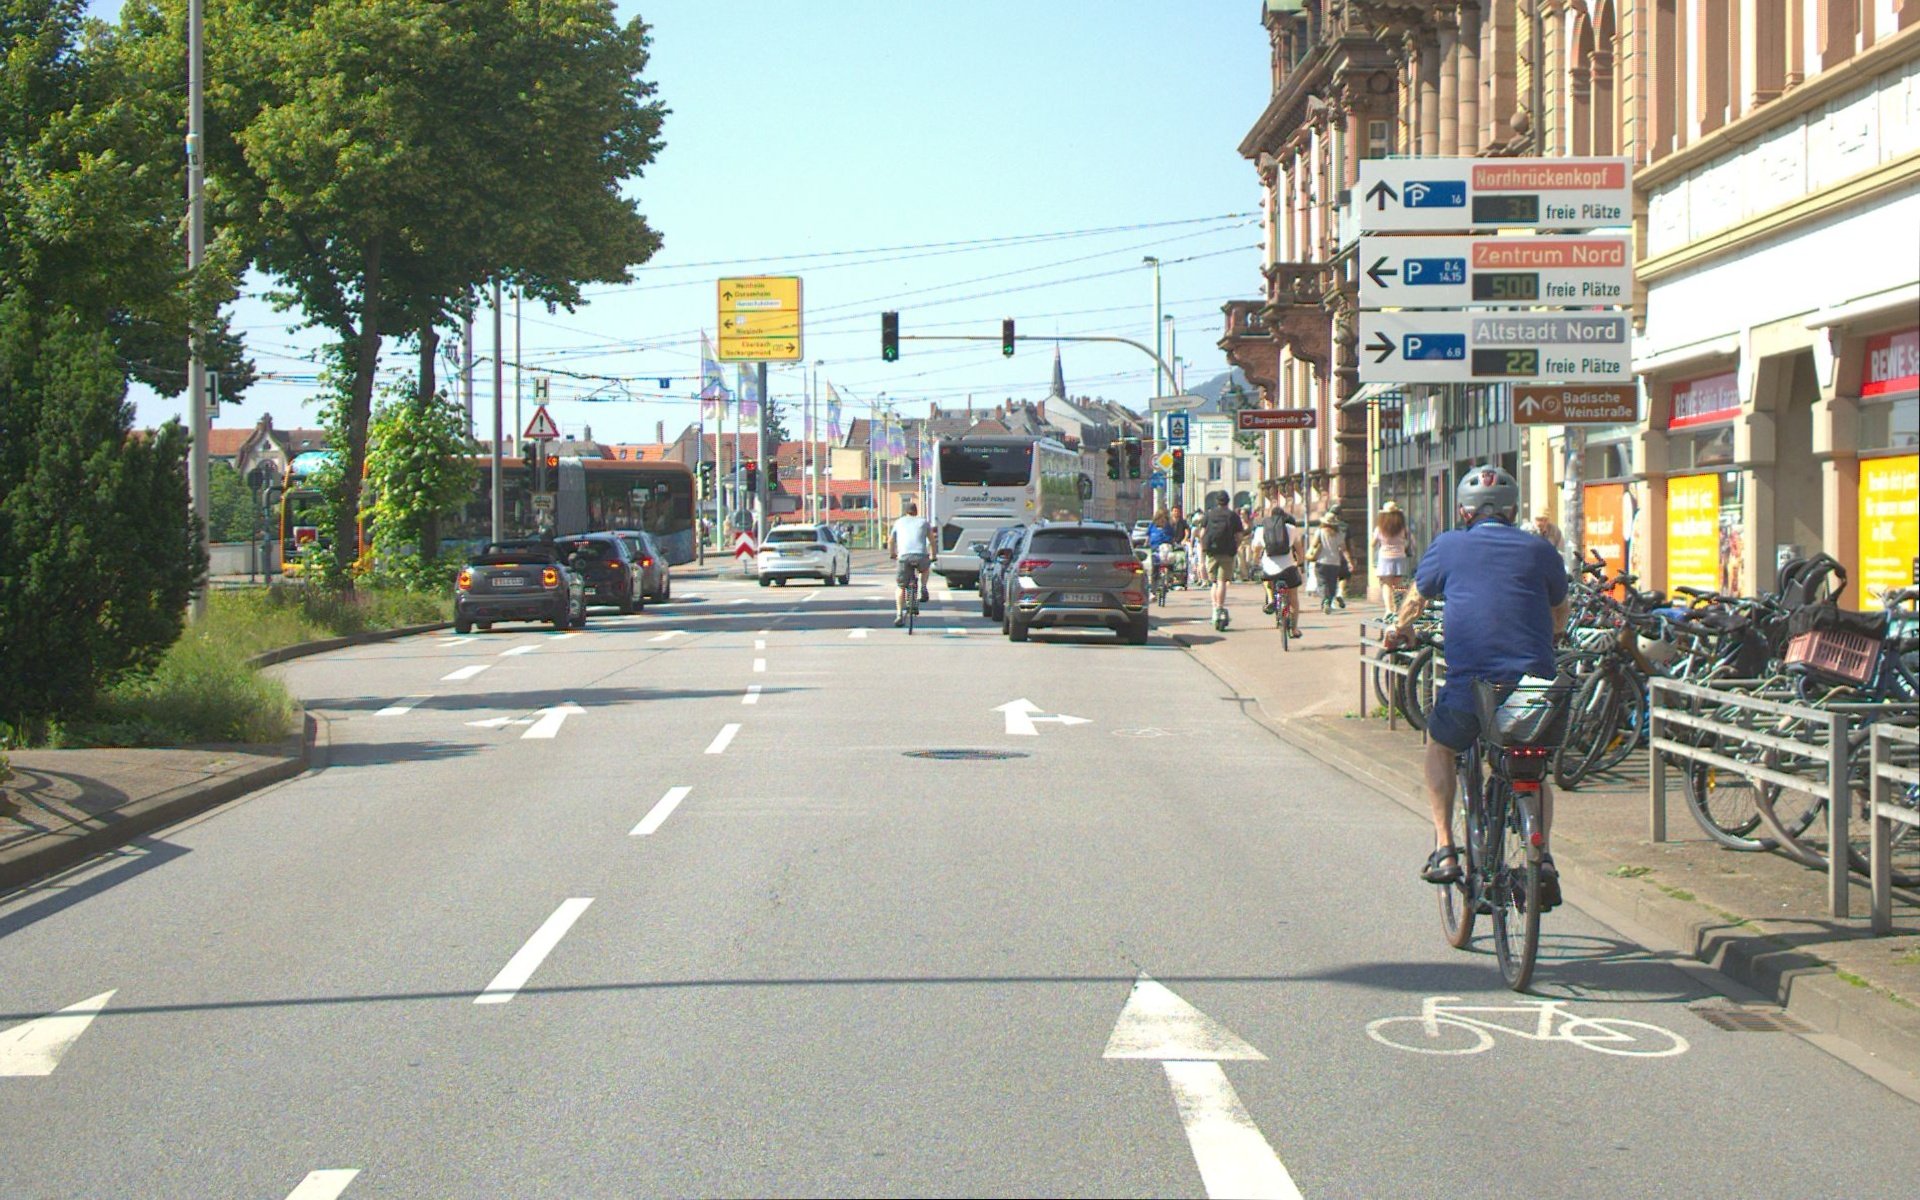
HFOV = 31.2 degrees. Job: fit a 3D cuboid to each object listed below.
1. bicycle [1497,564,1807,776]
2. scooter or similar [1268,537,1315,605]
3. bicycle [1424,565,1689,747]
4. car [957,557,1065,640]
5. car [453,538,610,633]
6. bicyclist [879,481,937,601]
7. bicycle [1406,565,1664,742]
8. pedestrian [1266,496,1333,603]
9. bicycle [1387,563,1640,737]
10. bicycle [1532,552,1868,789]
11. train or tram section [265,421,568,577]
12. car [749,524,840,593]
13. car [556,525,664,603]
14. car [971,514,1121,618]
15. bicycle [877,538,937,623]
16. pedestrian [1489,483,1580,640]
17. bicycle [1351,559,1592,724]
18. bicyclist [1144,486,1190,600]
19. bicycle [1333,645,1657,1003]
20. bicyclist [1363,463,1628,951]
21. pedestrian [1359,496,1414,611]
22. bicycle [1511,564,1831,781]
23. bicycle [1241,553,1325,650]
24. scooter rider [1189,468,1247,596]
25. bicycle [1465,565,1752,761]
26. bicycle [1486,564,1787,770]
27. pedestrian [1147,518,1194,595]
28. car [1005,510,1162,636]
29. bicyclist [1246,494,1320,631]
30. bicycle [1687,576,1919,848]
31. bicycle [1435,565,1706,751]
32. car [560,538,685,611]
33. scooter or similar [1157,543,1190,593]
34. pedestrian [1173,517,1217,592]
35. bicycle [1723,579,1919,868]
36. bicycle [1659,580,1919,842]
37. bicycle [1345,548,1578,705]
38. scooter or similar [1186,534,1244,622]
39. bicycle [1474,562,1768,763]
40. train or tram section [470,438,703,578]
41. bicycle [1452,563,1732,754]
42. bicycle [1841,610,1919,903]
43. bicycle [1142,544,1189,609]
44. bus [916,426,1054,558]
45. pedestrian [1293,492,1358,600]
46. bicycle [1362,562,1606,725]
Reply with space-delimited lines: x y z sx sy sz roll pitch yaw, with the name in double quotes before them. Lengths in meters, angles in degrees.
"bicycle" 4.069 0.407 20.278 1.693 1.174 0.490 2 0 0
"scooter or similar" 5.270 -0.467 54.701 0.600 1.044 0.799 3 0 -2
"bicycle" 4.070 0.377 23.516 1.693 1.174 0.460 2 0 0
"car" 0.997 -0.040 67.775 1.993 1.487 4.000 3 0 1
"car" -6.543 -0.224 52.818 1.815 1.328 4.000 3 0 1
"bicyclist" -0.707 -0.788 46.507 0.688 1.571 1.049 3 0 -2
"bicycle" 4.023 0.372 24.128 1.693 1.174 0.470 2 0 0
"pedestrian" 5.319 -0.792 53.965 0.862 1.634 0.876 3 0 -2
"bicycle" 3.945 0.354 24.544 1.693 1.174 0.470 2 0 0
"bicycle" 4.086 0.384 19.056 1.693 1.237 0.608 2 0 0
"train or tram section" -13.988 -2.546 89.602 2.826 3.569 10.020 3 0 23
"car" -3.887 -0.968 81.370 1.859 1.502 4.000 3 0 1
"car" -6.294 -0.639 62.107 1.451 1.296 4.000 3 0 1
"car" 1.323 -0.535 54.377 1.993 1.487 4.000 3 0 -3
"bicycle" -0.729 -0.265 46.476 0.734 1.089 1.898 3 0 -2
"pedestrian" 6.252 -0.413 37.442 0.755 1.650 0.837 -3 0 -1
"bicycle" 3.827 0.305 25.795 1.693 1.174 0.608 -1 1 0
"bicyclist" 3.642 -0.998 60.460 0.688 1.955 0.778 3 0 2
"bicycle" 1.836 0.738 12.082 0.734 1.089 1.911 3 0 -2
"bicyclist" 1.855 0.357 12.030 0.688 1.611 0.918 3 0 -1
"pedestrian" 6.040 -0.660 48.743 0.654 1.615 0.815 0 1 -2
"bicycle" 4.070 0.412 19.738 1.693 1.174 0.497 2 0 0
"bicycle" 3.806 0.014 40.649 0.734 1.089 1.898 3 0 -1
"scooter rider" 3.558 -0.931 47.418 0.688 1.723 0.778 3 0 2
"bicycle" 4.105 0.392 21.818 1.693 1.174 0.457 2 0 0
"bicycle" 4.086 0.402 20.817 1.693 1.174 0.451 2 0 0
"pedestrian" 4.570 -0.944 74.652 0.862 1.634 0.876 3 0 -2
"car" 1.567 -0.349 44.885 1.874 1.487 4.000 3 0 1
"bicyclist" 3.812 -0.439 40.684 0.688 1.571 1.049 3 0 -1
"bicycle" 4.209 0.507 15.510 1.693 1.174 0.608 2 0 0
"bicycle" 4.067 0.380 22.949 1.693 1.174 0.459 2 0 0
"car" -6.777 -0.515 69.358 2.037 1.328 4.000 3 0 1
"scooter or similar" 4.590 -0.681 73.959 0.600 1.044 0.799 3 0 -2
"pedestrian" 5.219 -1.008 76.273 0.862 1.634 0.876 -1 1 -2
"bicycle" 4.191 0.527 14.501 1.771 1.174 0.608 2 0 0
"bicycle" 4.217 0.520 16.185 1.693 1.174 0.608 2 0 0
"bicycle" 3.845 0.197 26.425 1.693 1.174 0.608 0 1 0
"scooter or similar" 3.511 -0.300 47.383 0.688 1.163 1.464 3 0 2
"bicycle" 4.090 0.384 21.324 1.693 1.174 0.463 2 0 0
"train or tram section" -10.528 -2.556 97.951 2.826 3.569 8.216 3 0 23
"bicycle" 4.105 0.373 22.387 1.693 1.174 0.514 2 0 0
"bicycle" 4.299 0.610 13.097 1.693 1.083 0.608 2 0 0
"bicycle" 3.609 -0.415 60.512 0.734 1.089 1.898 3 0 2
"bus" 0.602 -2.467 81.439 2.969 2.767 8.641 3 0 1
"pedestrian" 5.612 -0.830 52.823 0.862 1.634 0.876 0 1 -2
"bicycle" 3.821 0.310 25.141 1.693 1.174 0.608 0 1 0
